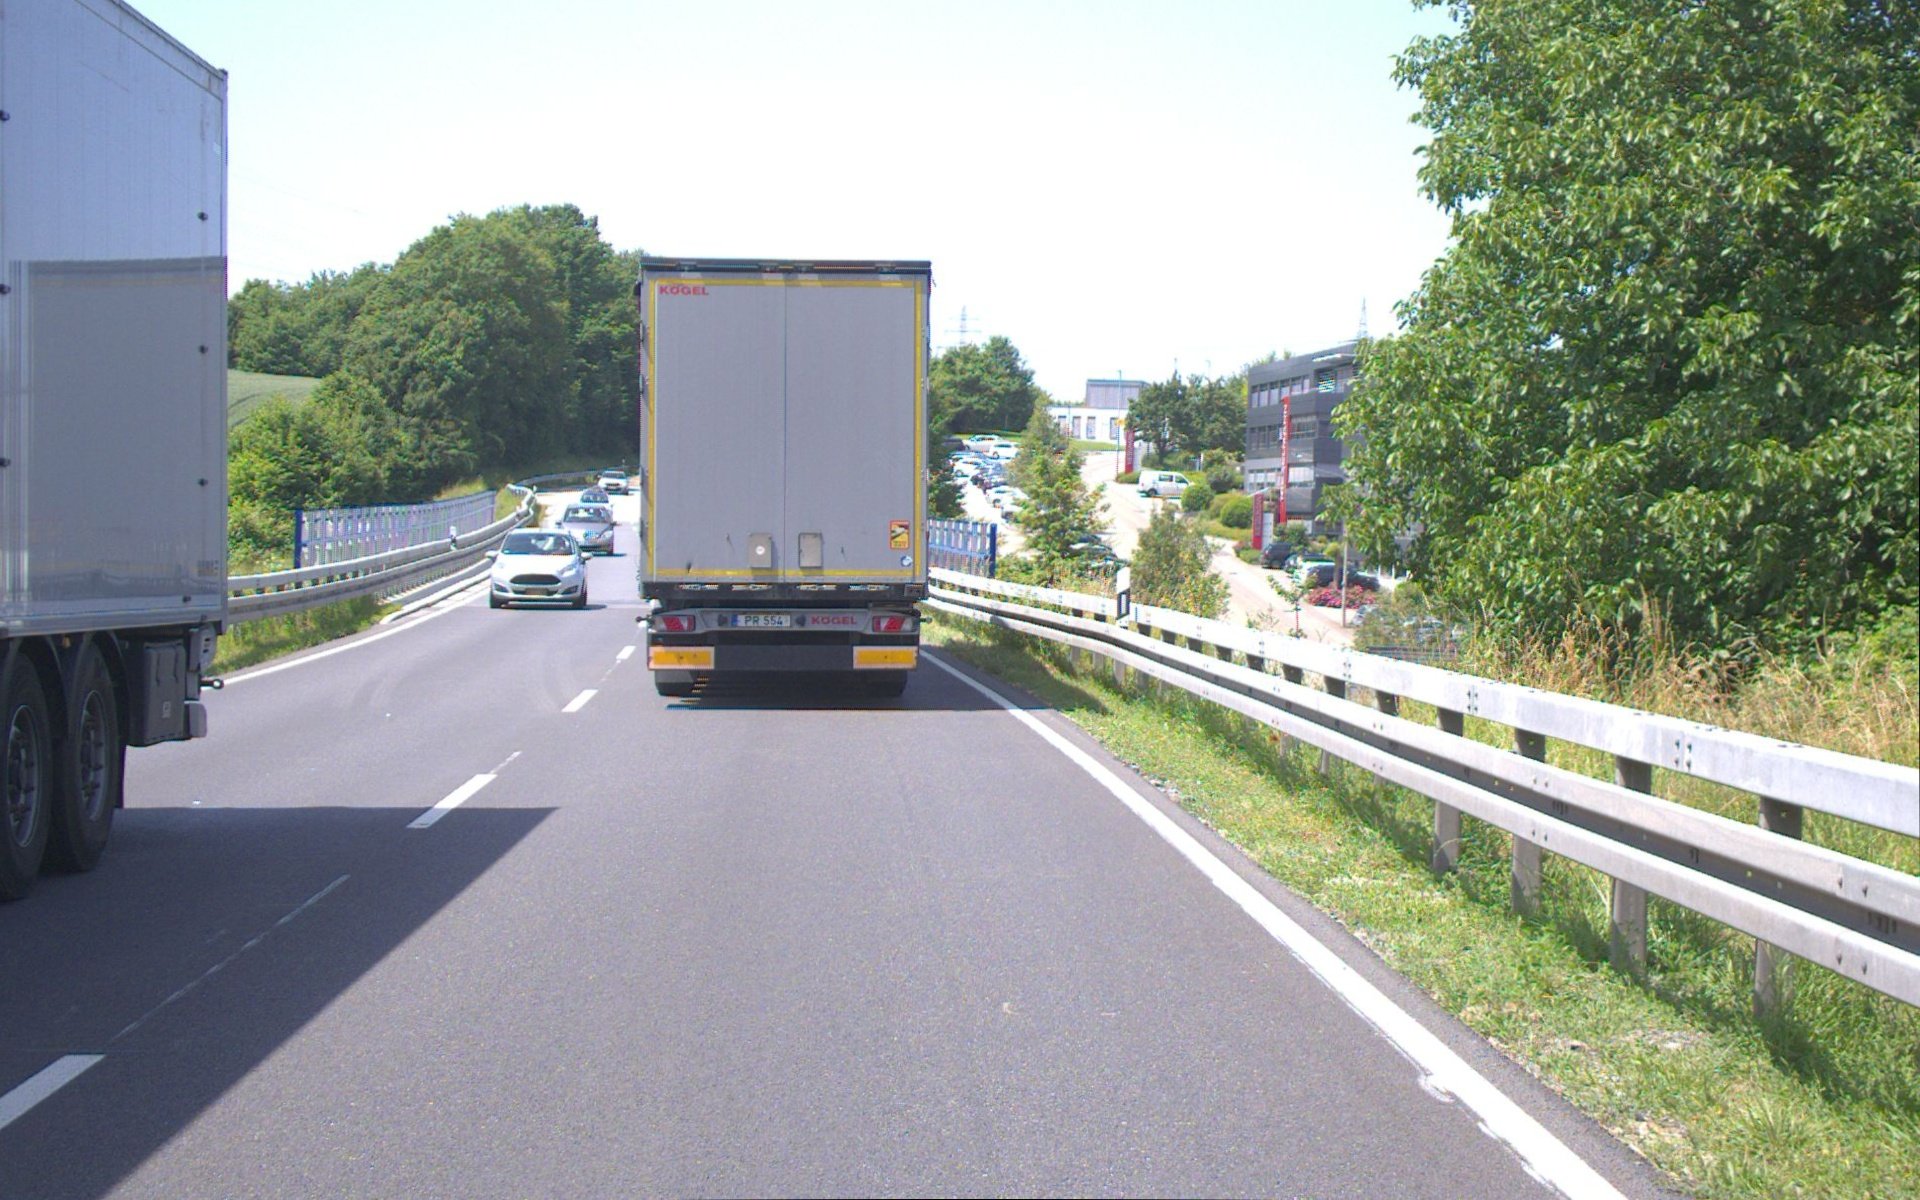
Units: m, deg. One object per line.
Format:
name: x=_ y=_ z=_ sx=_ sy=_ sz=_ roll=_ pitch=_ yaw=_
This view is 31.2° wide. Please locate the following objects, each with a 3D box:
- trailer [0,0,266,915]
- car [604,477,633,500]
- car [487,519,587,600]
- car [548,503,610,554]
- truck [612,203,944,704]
trailer: x=-4.928 y=-0.835 z=12.002 sx=2.445 sy=4.170 sz=14.016 roll=0 pitch=1 yaw=-1
car: x=-21.553 y=-7.034 z=217.017 sx=1.781 sy=1.431 sz=4.836 roll=0 pitch=2 yaw=-6
car: x=-7.772 y=-0.773 z=63.421 sx=1.646 sy=1.436 sz=4.159 roll=-1 pitch=1 yaw=-4
car: x=-12.125 y=-2.282 z=109.640 sx=1.806 sy=1.584 sz=4.380 roll=0 pitch=1 yaw=-4
truck: x=-1.794 y=-1.340 z=34.778 sx=2.866 sy=4.344 sz=9.790 roll=0 pitch=1 yaw=-2
